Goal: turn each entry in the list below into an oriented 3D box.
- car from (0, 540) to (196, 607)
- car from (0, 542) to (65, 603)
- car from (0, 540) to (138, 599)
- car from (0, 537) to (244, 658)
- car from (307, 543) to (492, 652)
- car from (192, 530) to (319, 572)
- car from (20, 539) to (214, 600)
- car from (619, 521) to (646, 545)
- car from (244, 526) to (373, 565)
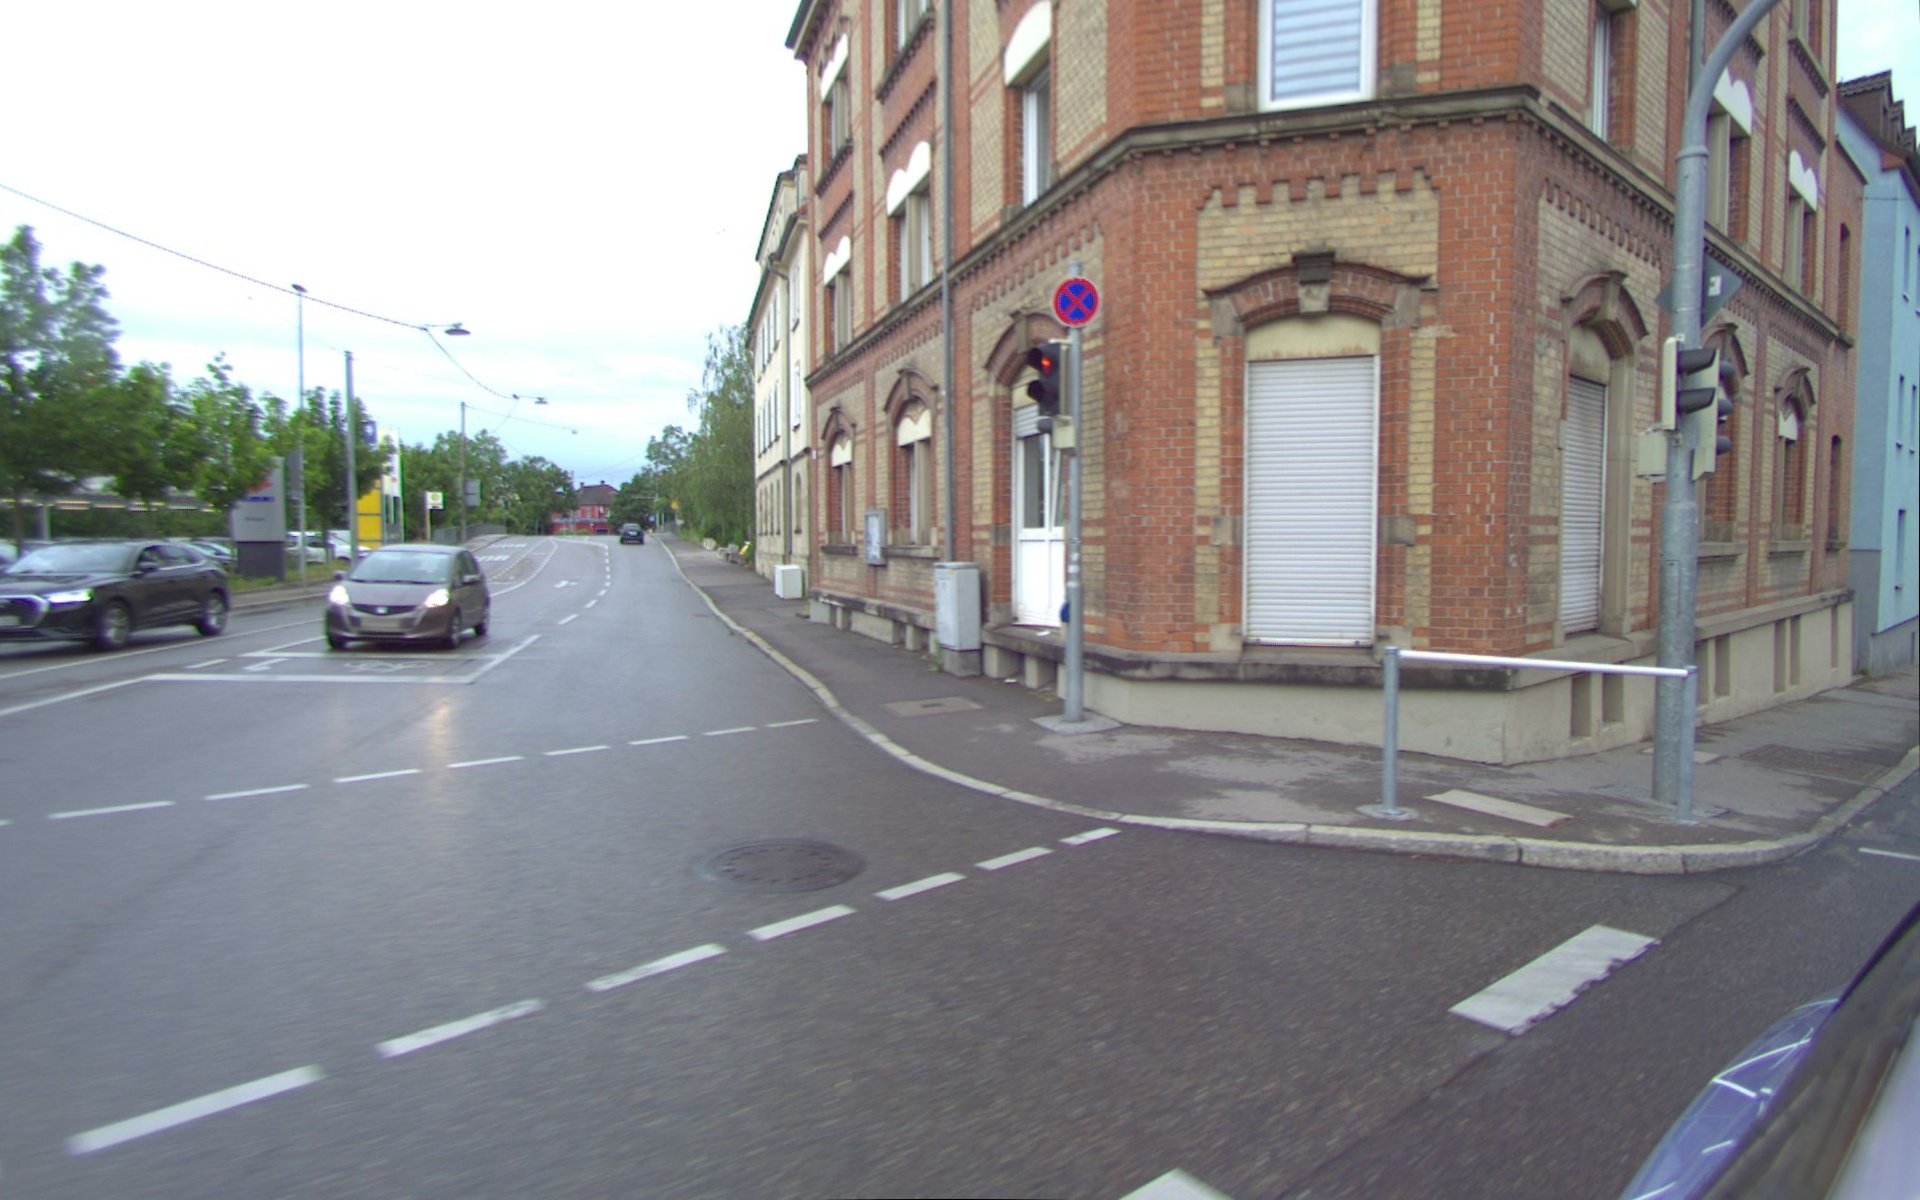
[{"bbox_3d":[-22.787,-0.701,26.644,3.916,1.615,1.727,1,2,-12],"label":"car"},{"bbox_3d":[-21.822,-0.635,21.464,3.916,1.265,1.727,1,2,-12],"label":"car"},{"bbox_3d":[-22.294,-0.748,24.058,3.916,1.323,1.727,1,2,-12],"label":"car"},{"bbox_3d":[-12.548,-0.123,14.785,1.767,1.523,4.264,0,2,-10],"label":"car"},{"bbox_3d":[-8.604,-0.119,15.900,1.805,1.471,4.010,2,2,-19],"label":"car"},{"bbox_3d":[-27.720,-1.924,39.948,3.733,1.508,1.727,1,2,-12],"label":"car"},{"bbox_3d":[-24.065,-0.878,29.027,3.916,1.615,1.727,1,2,-12],"label":"car"},{"bbox_3d":[-24.485,-5.006,75.630,1.850,1.638,4.010,1,2,-18],"label":"car"},{"bbox_3d":[-27.700,-2.302,43.177,4.286,1.508,1.727,1,2,-12],"label":"car"}]
